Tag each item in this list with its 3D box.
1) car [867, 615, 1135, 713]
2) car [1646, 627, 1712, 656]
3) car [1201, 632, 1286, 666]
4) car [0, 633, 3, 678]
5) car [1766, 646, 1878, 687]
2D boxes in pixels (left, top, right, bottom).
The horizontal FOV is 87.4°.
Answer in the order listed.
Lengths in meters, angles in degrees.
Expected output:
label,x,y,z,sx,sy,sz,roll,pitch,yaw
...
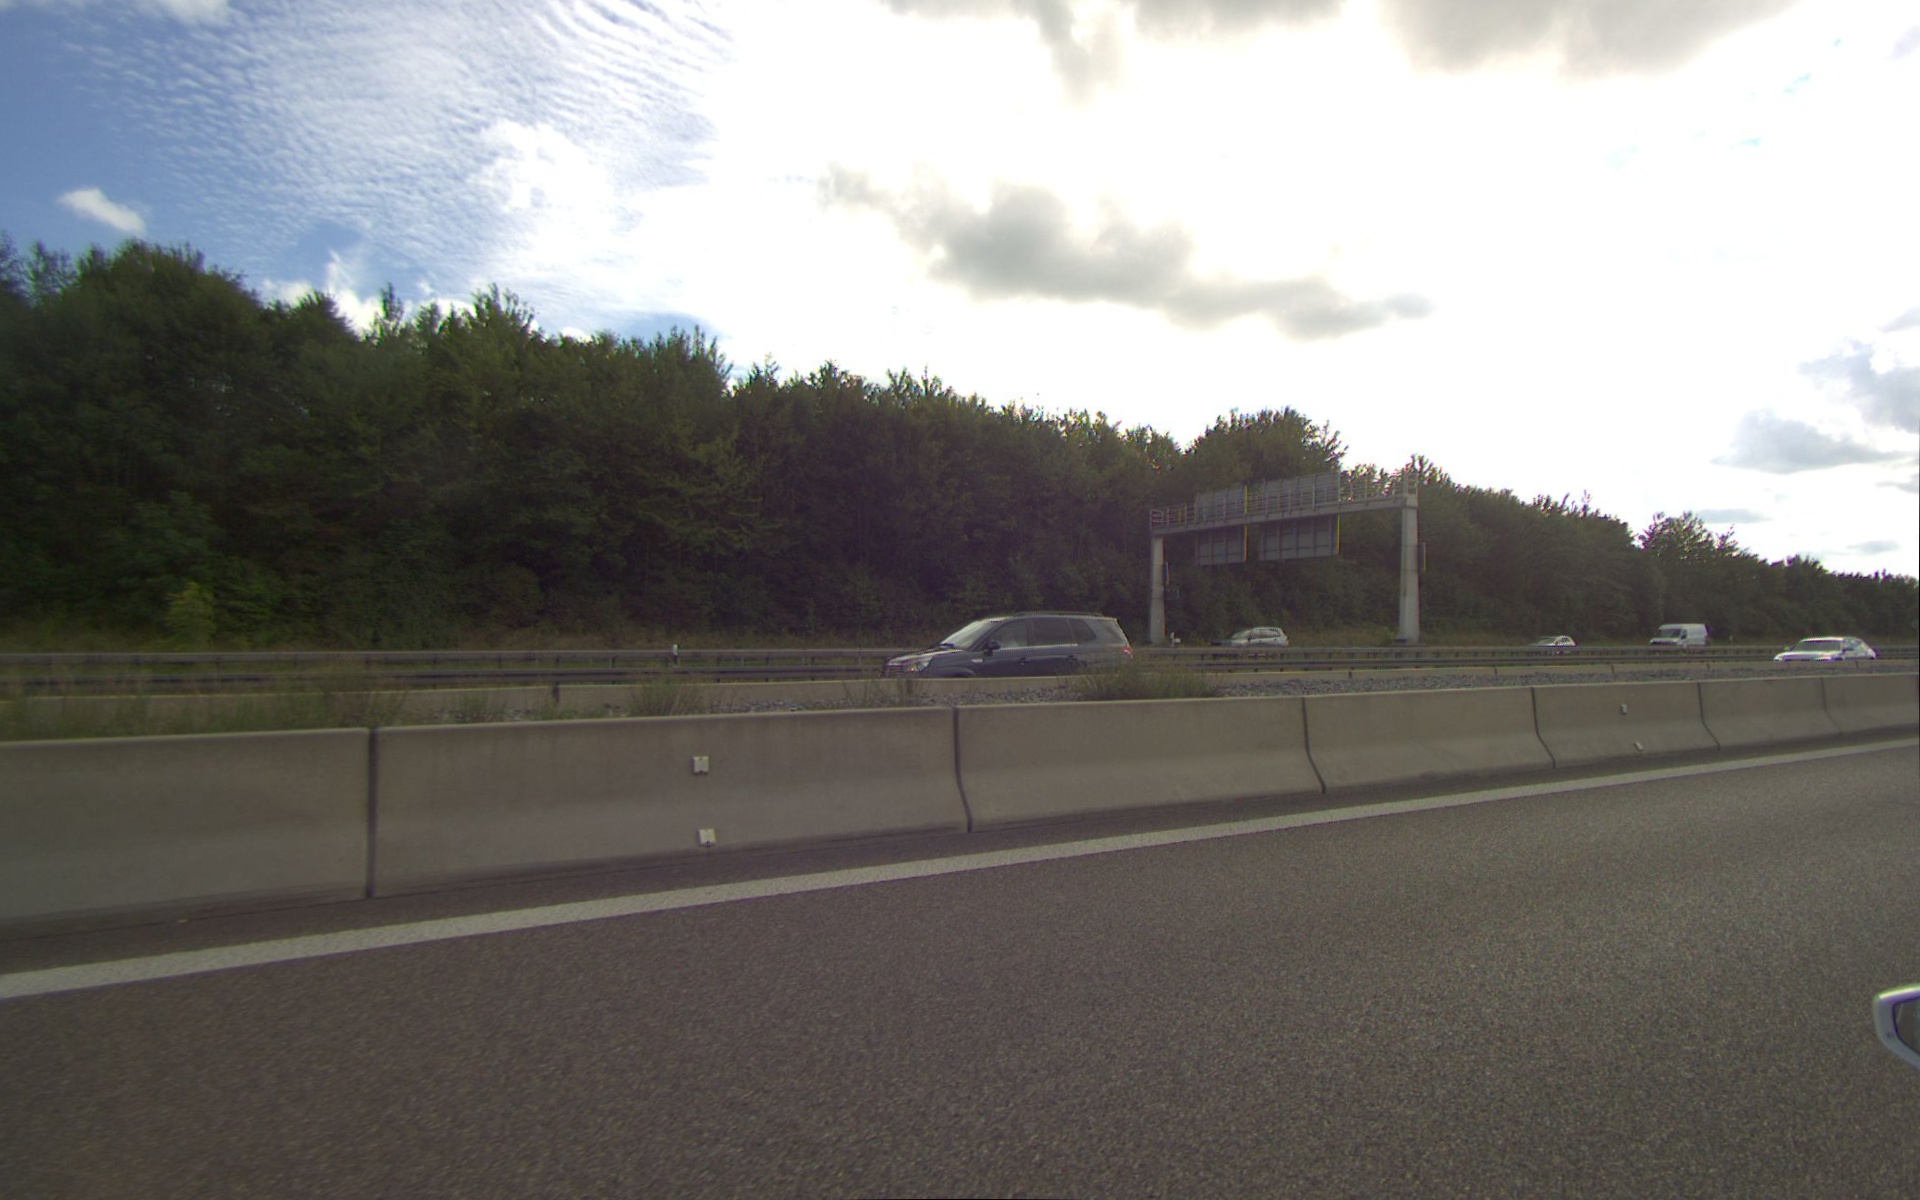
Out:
label,x,y,z,sx,sy,sz,roll,pitch,yaw
car,0.807,1.107,18.331,4.726,1.581,1.765,1,-2,-31
car,57.481,3.283,80.276,5.818,2.264,1.985,1,-2,-29
car,15.155,2.575,53.643,4.460,1.750,1.788,1,-2,-31
car,-30.453,1.629,28.840,4.005,1.383,1.556,1,-2,-31
car,31.533,2.383,36.716,4.621,1.312,1.762,1,-1,-31
